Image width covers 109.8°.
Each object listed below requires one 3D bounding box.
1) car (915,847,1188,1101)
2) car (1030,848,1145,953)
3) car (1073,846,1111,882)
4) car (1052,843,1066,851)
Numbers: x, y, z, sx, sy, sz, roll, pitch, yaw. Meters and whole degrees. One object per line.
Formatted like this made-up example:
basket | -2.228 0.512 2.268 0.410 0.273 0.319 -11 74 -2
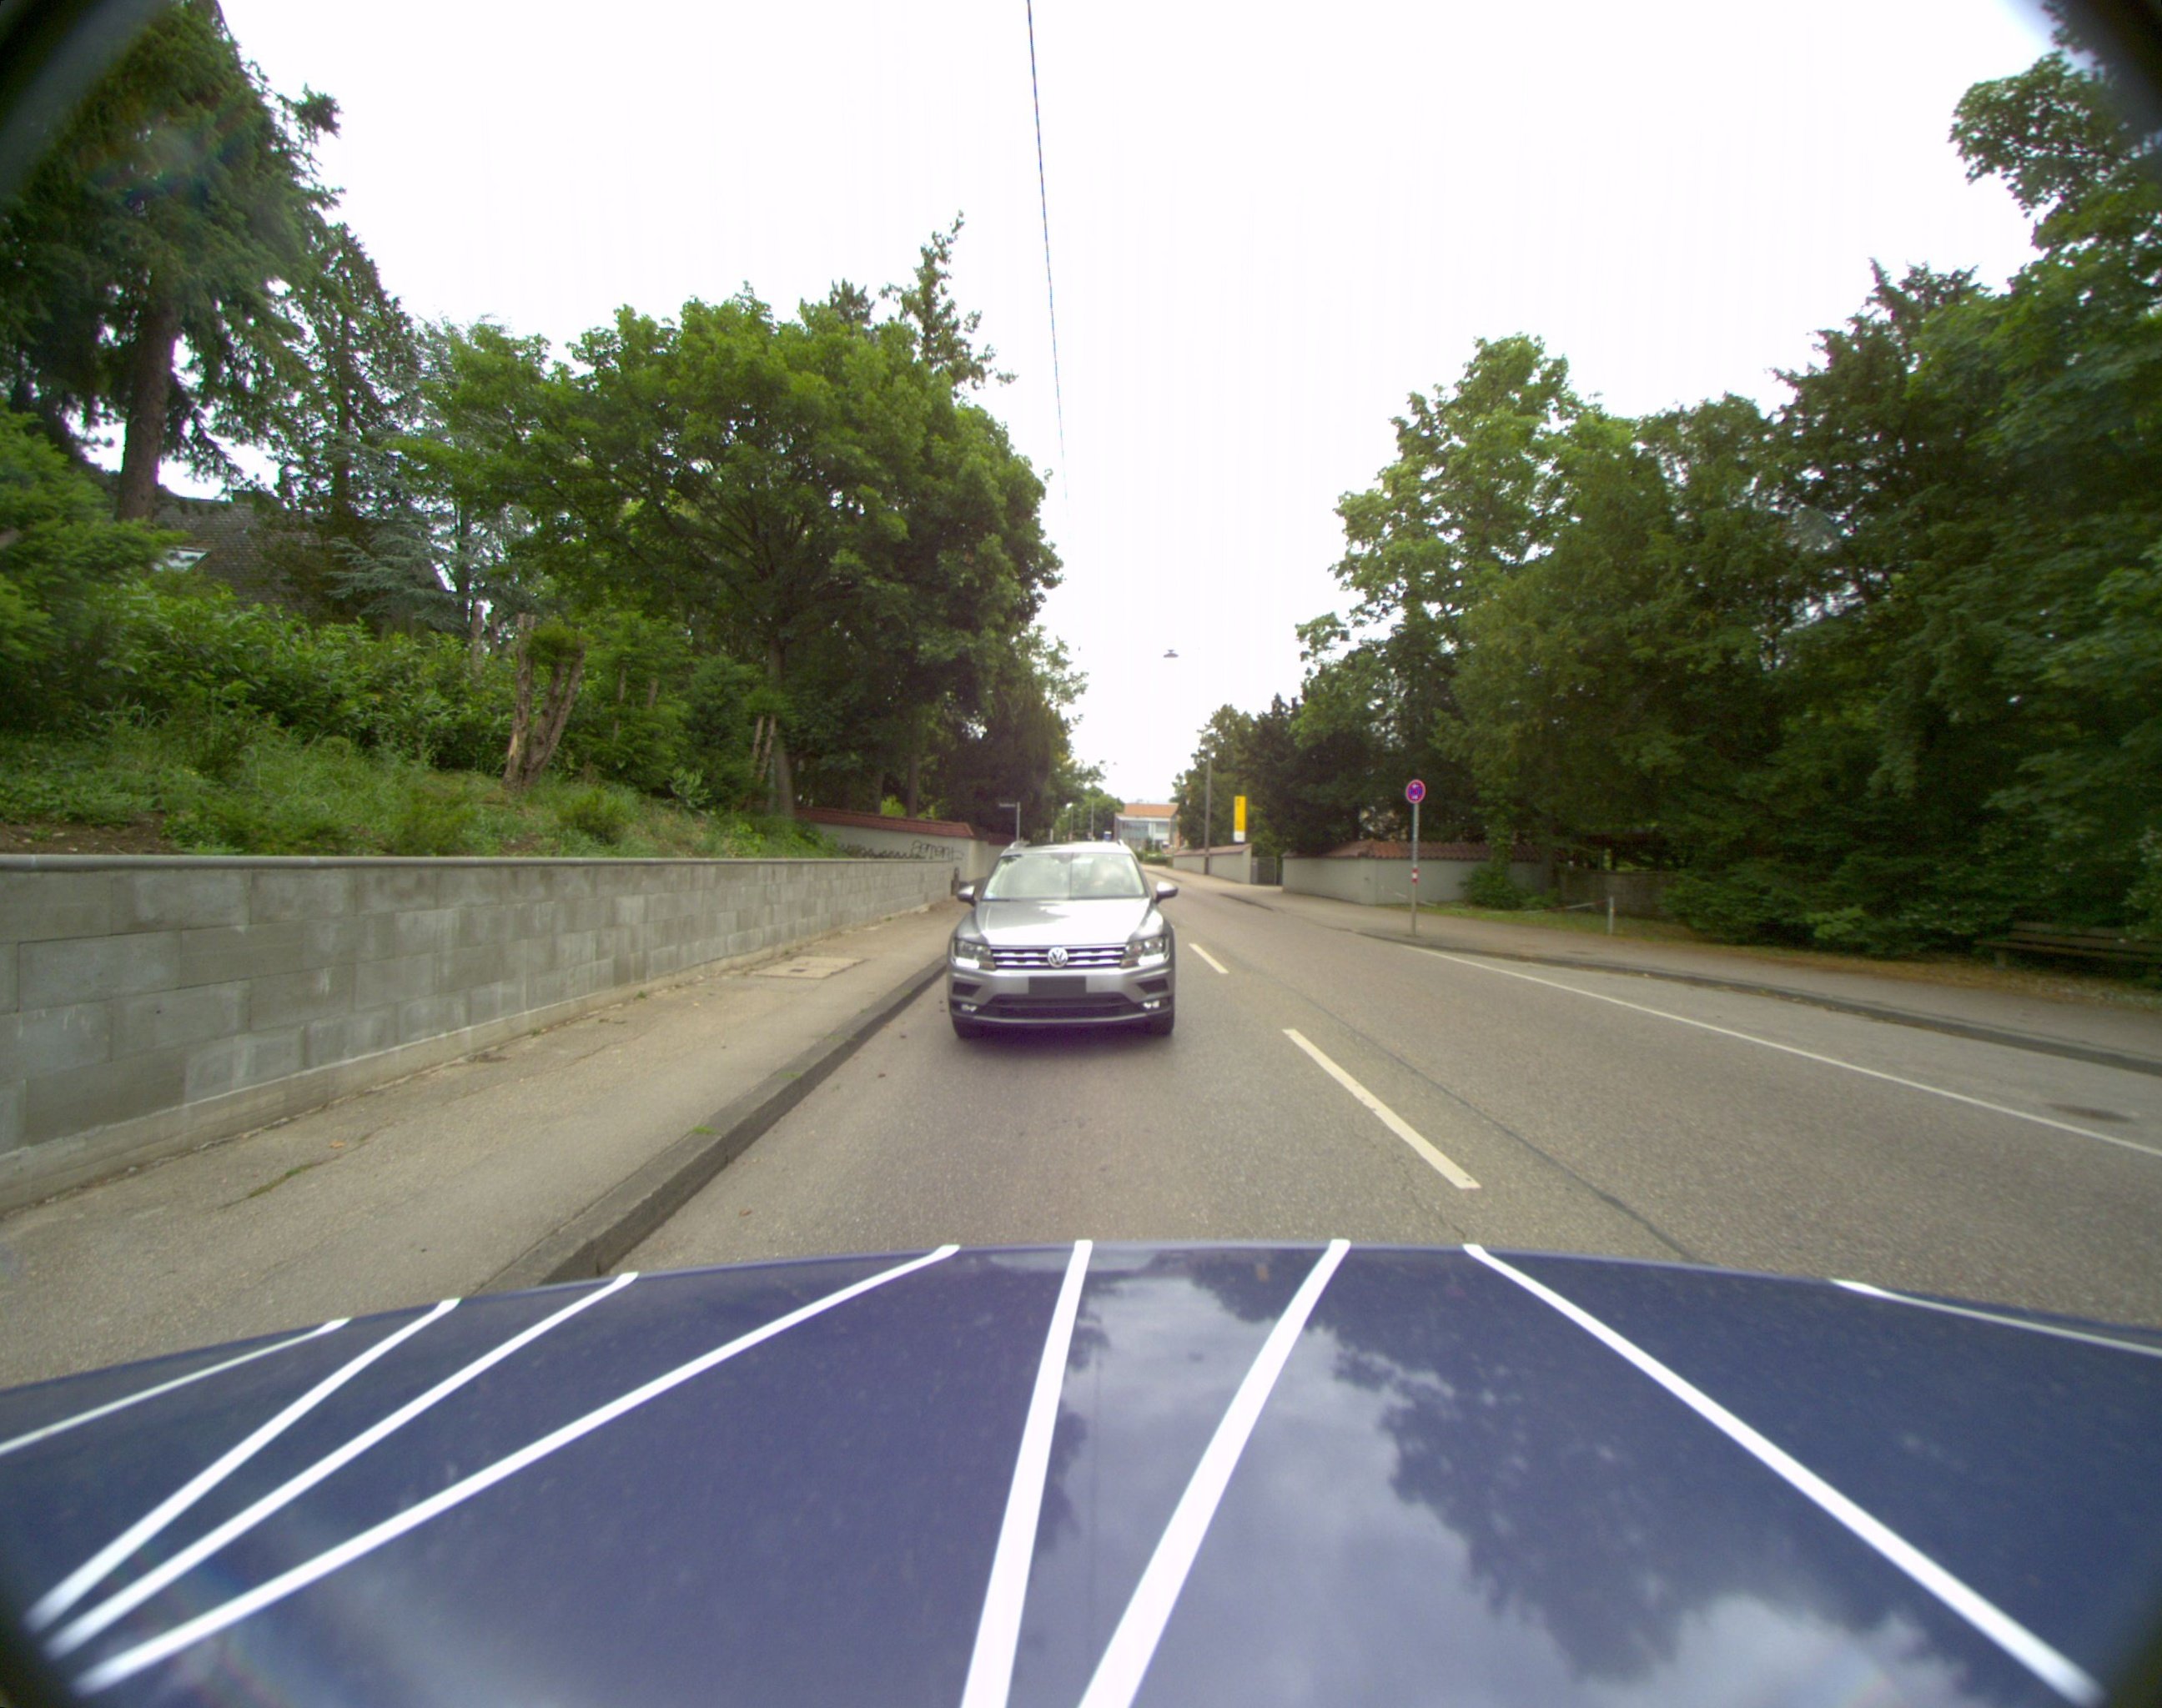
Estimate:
car | -0.186 0.802 7.523 1.820 1.690 4.718 -1 0 0
car | 0.109 0.726 14.299 1.820 1.647 4.487 0 1 0
car | 0.554 0.454 38.618 1.820 1.733 4.487 0 1 0
car | -4.518 -1.421 156.333 1.879 1.647 4.249 0 1 -16
